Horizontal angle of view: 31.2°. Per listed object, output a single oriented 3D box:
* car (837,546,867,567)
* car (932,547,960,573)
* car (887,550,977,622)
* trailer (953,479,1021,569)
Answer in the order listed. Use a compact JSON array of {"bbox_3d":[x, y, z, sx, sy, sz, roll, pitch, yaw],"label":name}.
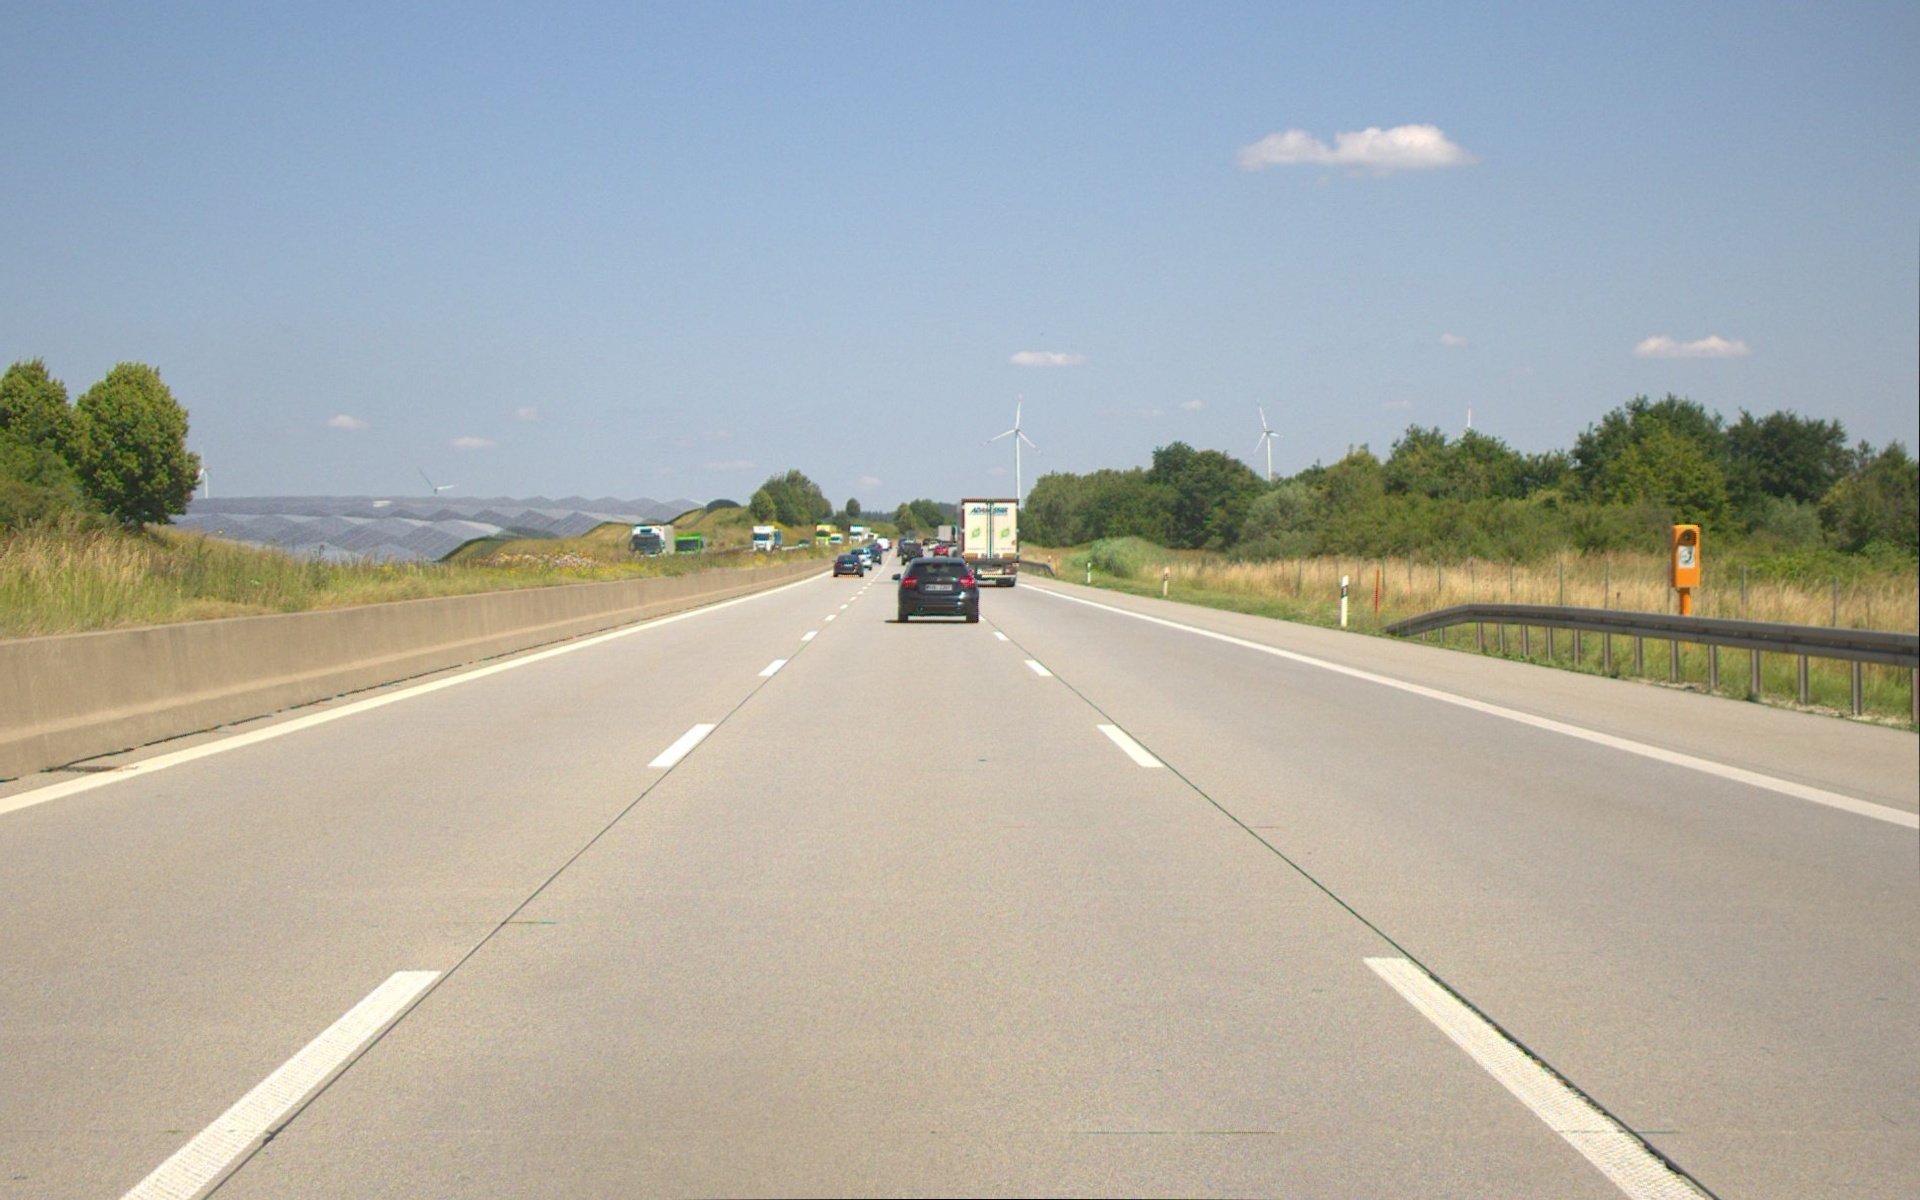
[{"bbox_3d":[-6.622,-2.667,211.127,1.655,1.192,3.960,3,1,-1],"label":"car"},{"bbox_3d":[-1.046,-2.959,254.107,1.827,1.900,4.000,0,1,3],"label":"car"},{"bbox_3d":[-0.645,-0.336,76.160,1.910,1.487,4.192,1,1,-1],"label":"car"},{"bbox_3d":[1.198,-3.555,161.836,2.852,4.029,12.714,1,1,-1],"label":"trailer"}]
